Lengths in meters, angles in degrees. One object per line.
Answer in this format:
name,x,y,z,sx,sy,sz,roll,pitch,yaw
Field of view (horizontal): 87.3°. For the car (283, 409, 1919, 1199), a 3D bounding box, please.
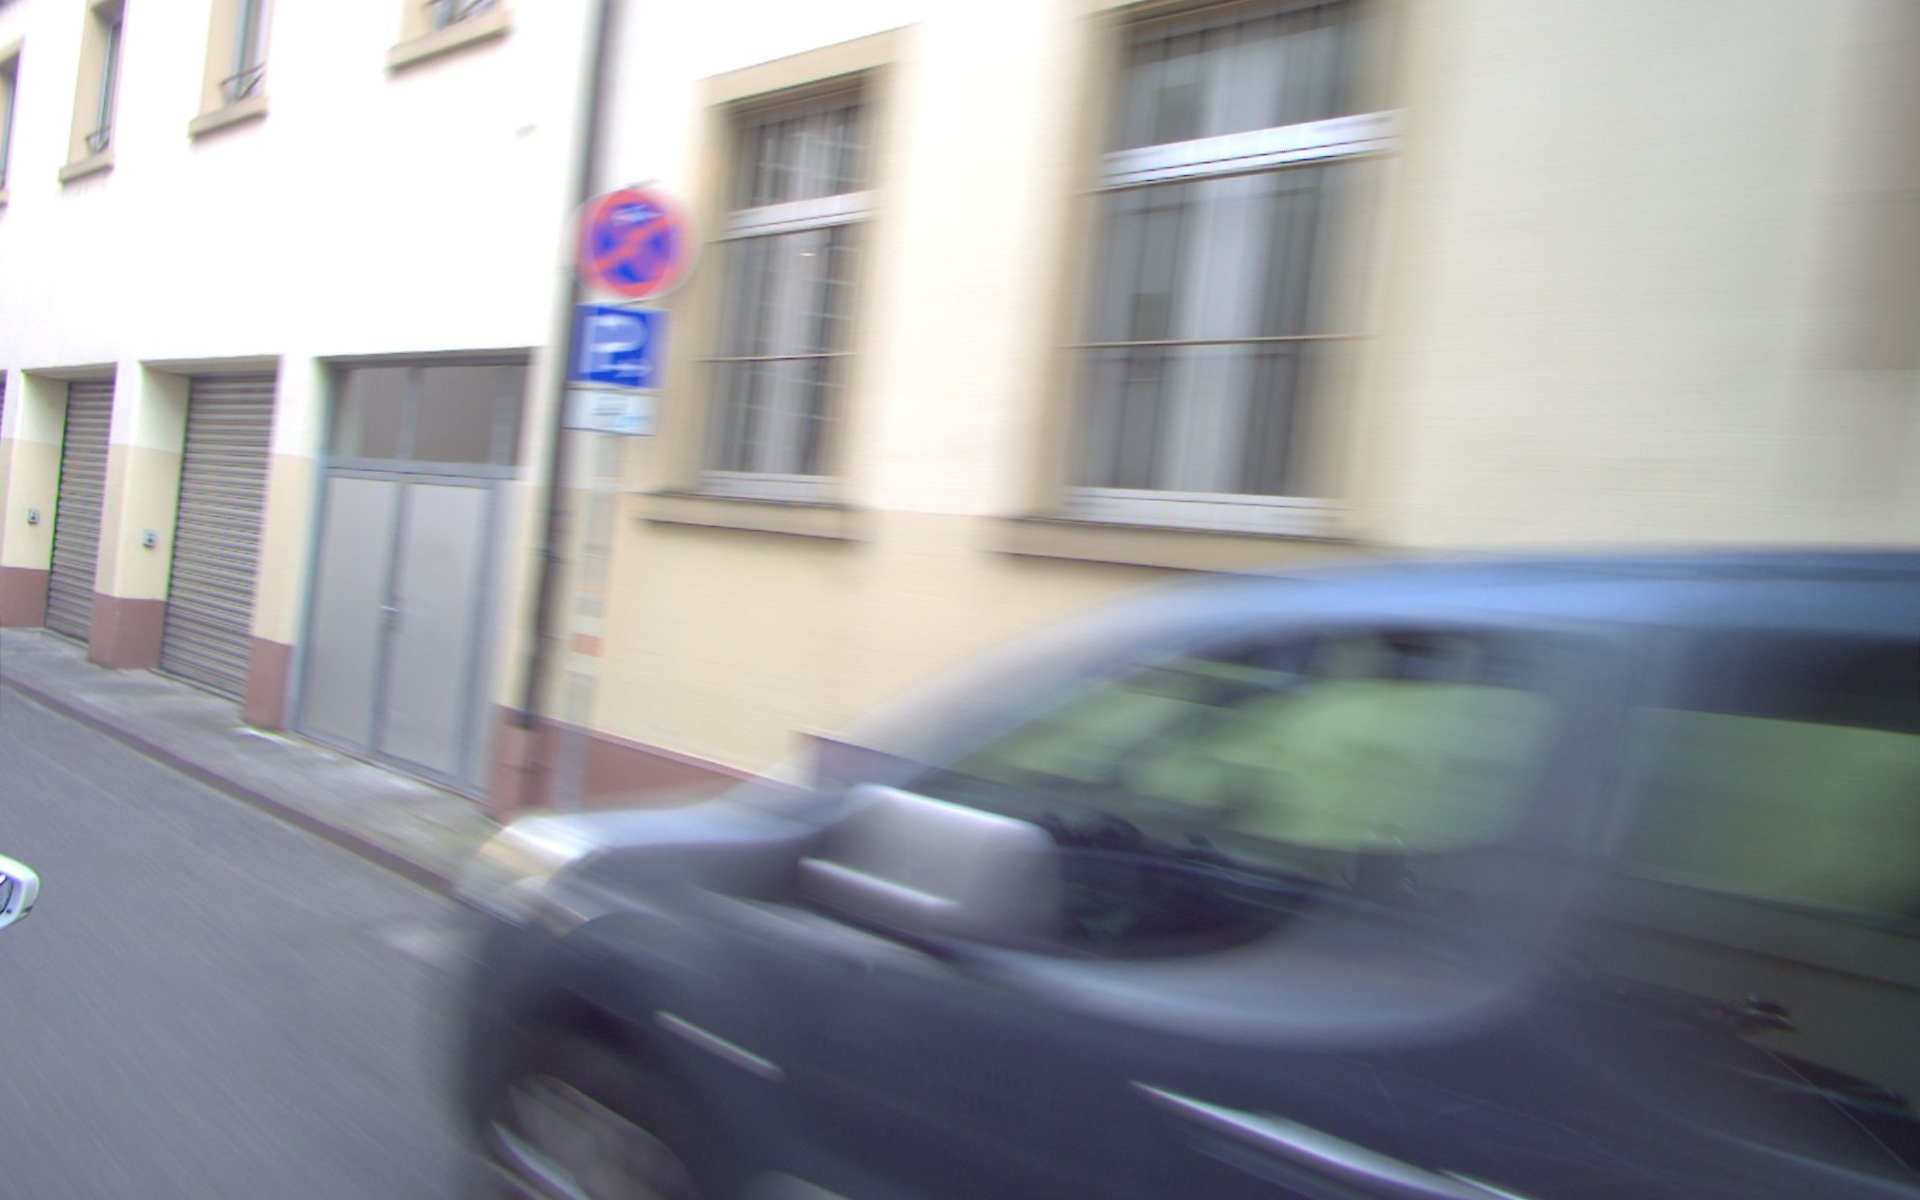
car,0.932,0.775,1.922,4.671,1.787,1.763,7,-2,32
